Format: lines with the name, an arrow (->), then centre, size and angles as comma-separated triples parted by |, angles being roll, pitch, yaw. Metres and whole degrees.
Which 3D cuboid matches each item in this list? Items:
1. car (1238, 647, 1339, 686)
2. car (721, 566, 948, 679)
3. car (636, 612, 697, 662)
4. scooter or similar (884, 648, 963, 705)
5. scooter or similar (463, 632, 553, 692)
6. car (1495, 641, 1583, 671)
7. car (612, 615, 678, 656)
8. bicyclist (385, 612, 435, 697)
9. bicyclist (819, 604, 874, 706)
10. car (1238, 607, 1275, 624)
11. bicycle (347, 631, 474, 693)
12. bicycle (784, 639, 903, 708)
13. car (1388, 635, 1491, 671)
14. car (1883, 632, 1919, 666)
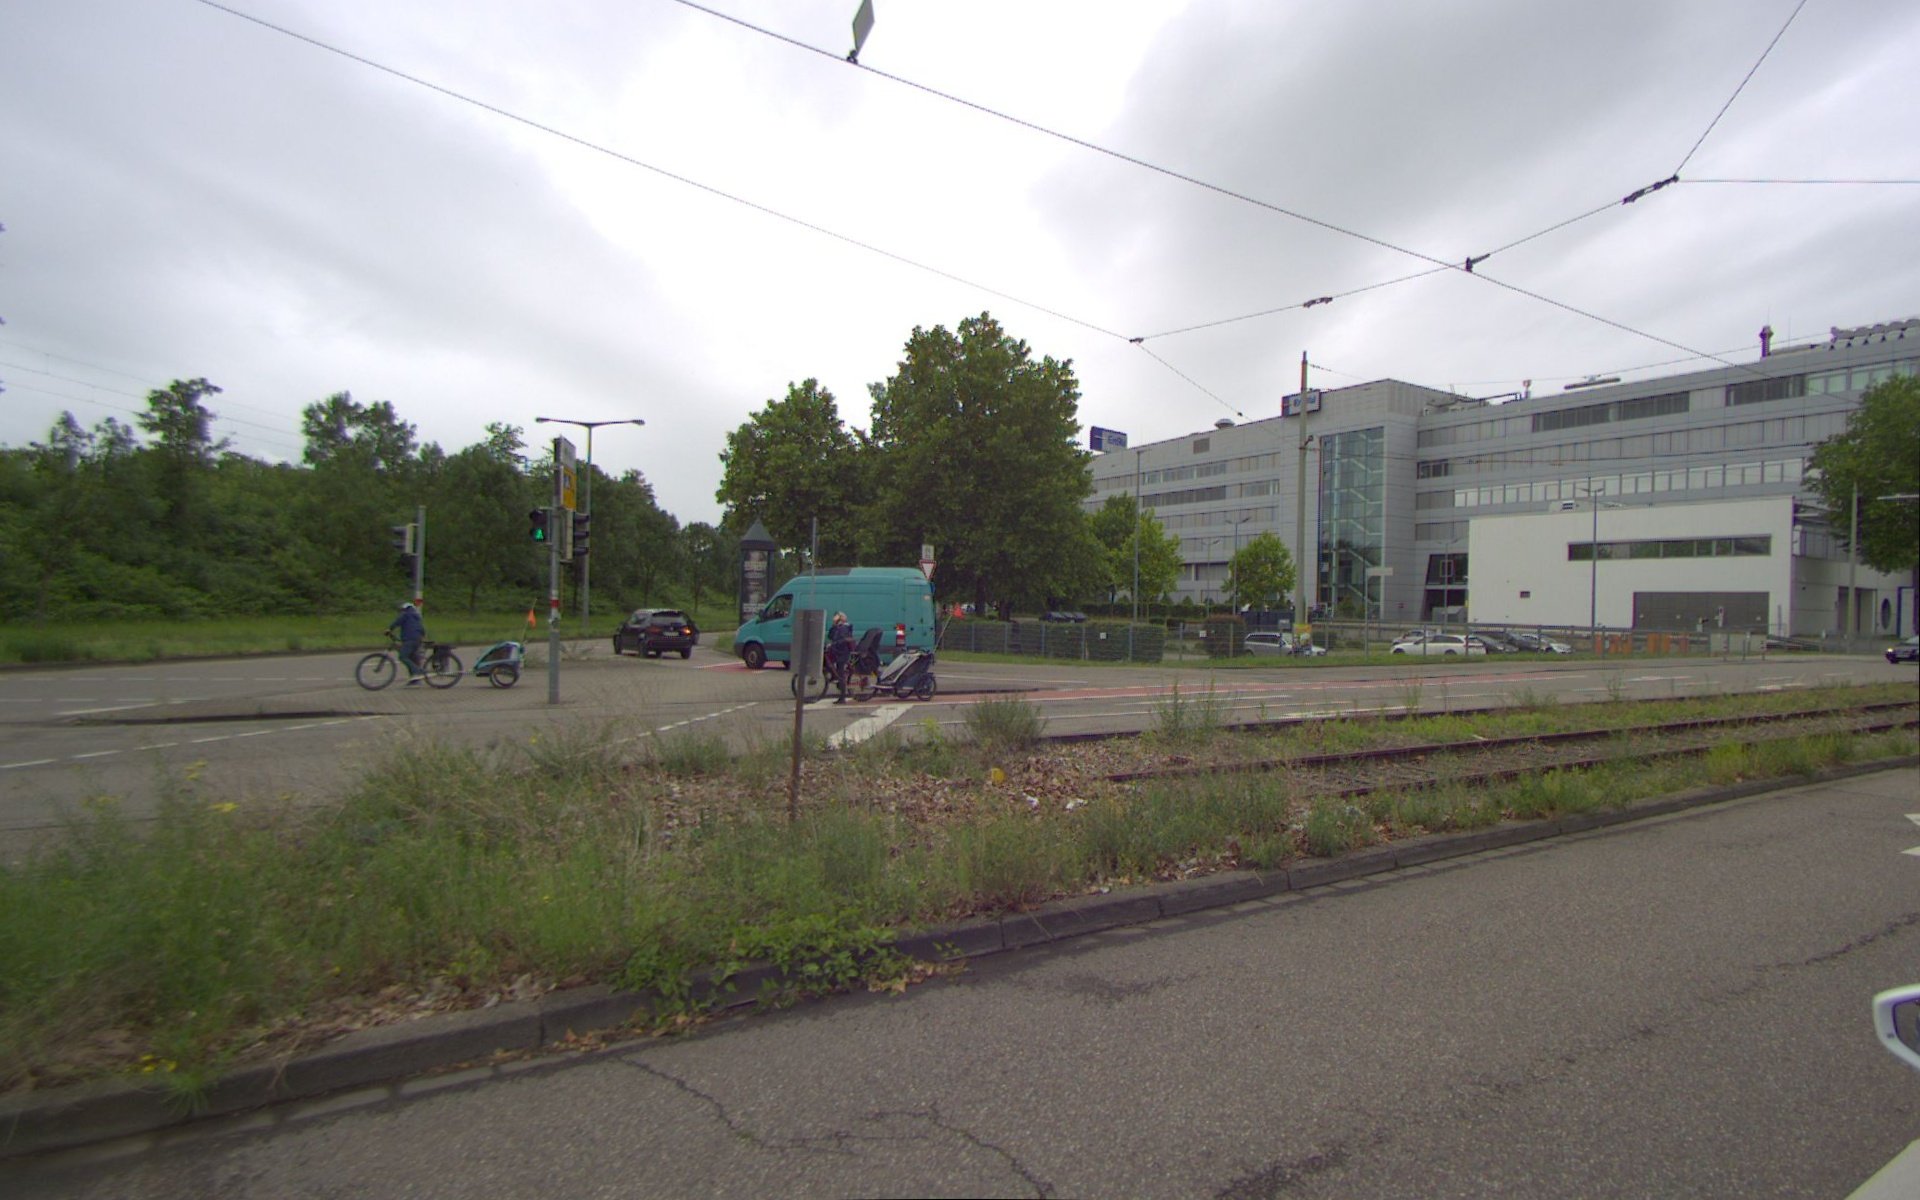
car -> 14.935, 3.003, 45.898 | 1.890, 1.552, 4.191 | 2, -1, -30
car -> -3.500, 0.565, 27.909 | 5.835, 2.863, 2.335 | 1, -1, 24
car -> -9.957, 1.228, 34.251 | 1.744, 1.548, 3.660 | 2, -1, -13
scooter or similar -> -0.670, 1.385, 18.493 | 1.187, 0.919, 0.837 | 1, 2, -38
scooter or similar -> -8.626, 1.184, 19.202 | 1.424, 1.076, 0.646 | 2, 1, -11
car -> 33.041, 3.181, 57.433 | 1.893, 1.505, 3.962 | 2, -1, -34
car -> -13.580, 1.484, 43.488 | 1.739, 1.548, 3.668 | 2, 1, -1
bicyclist -> -10.324, 1.013, 18.876 | 0.615, 1.539, 0.646 | 2, 2, -11
bicyclist -> -1.982, 0.931, 17.486 | 0.679, 1.706, 0.640 | 1, 2, -38
car -> 37.410, 1.942, 126.629 | 4.598, 2.040, 1.983 | 2, -1, -32
bicycle -> -10.301, 1.164, 18.883 | 1.965, 1.076, 0.646 | 2, 1, -11
bicycle -> -2.008, 1.248, 17.489 | 2.006, 1.076, 0.640 | 1, 2, -39
car -> 24.838, 2.709, 52.186 | 1.893, 1.655, 4.498 | 2, -1, -34
car -> 43.751, 2.223, 45.267 | 4.370, 1.492, 1.813 | 2, -1, -27
